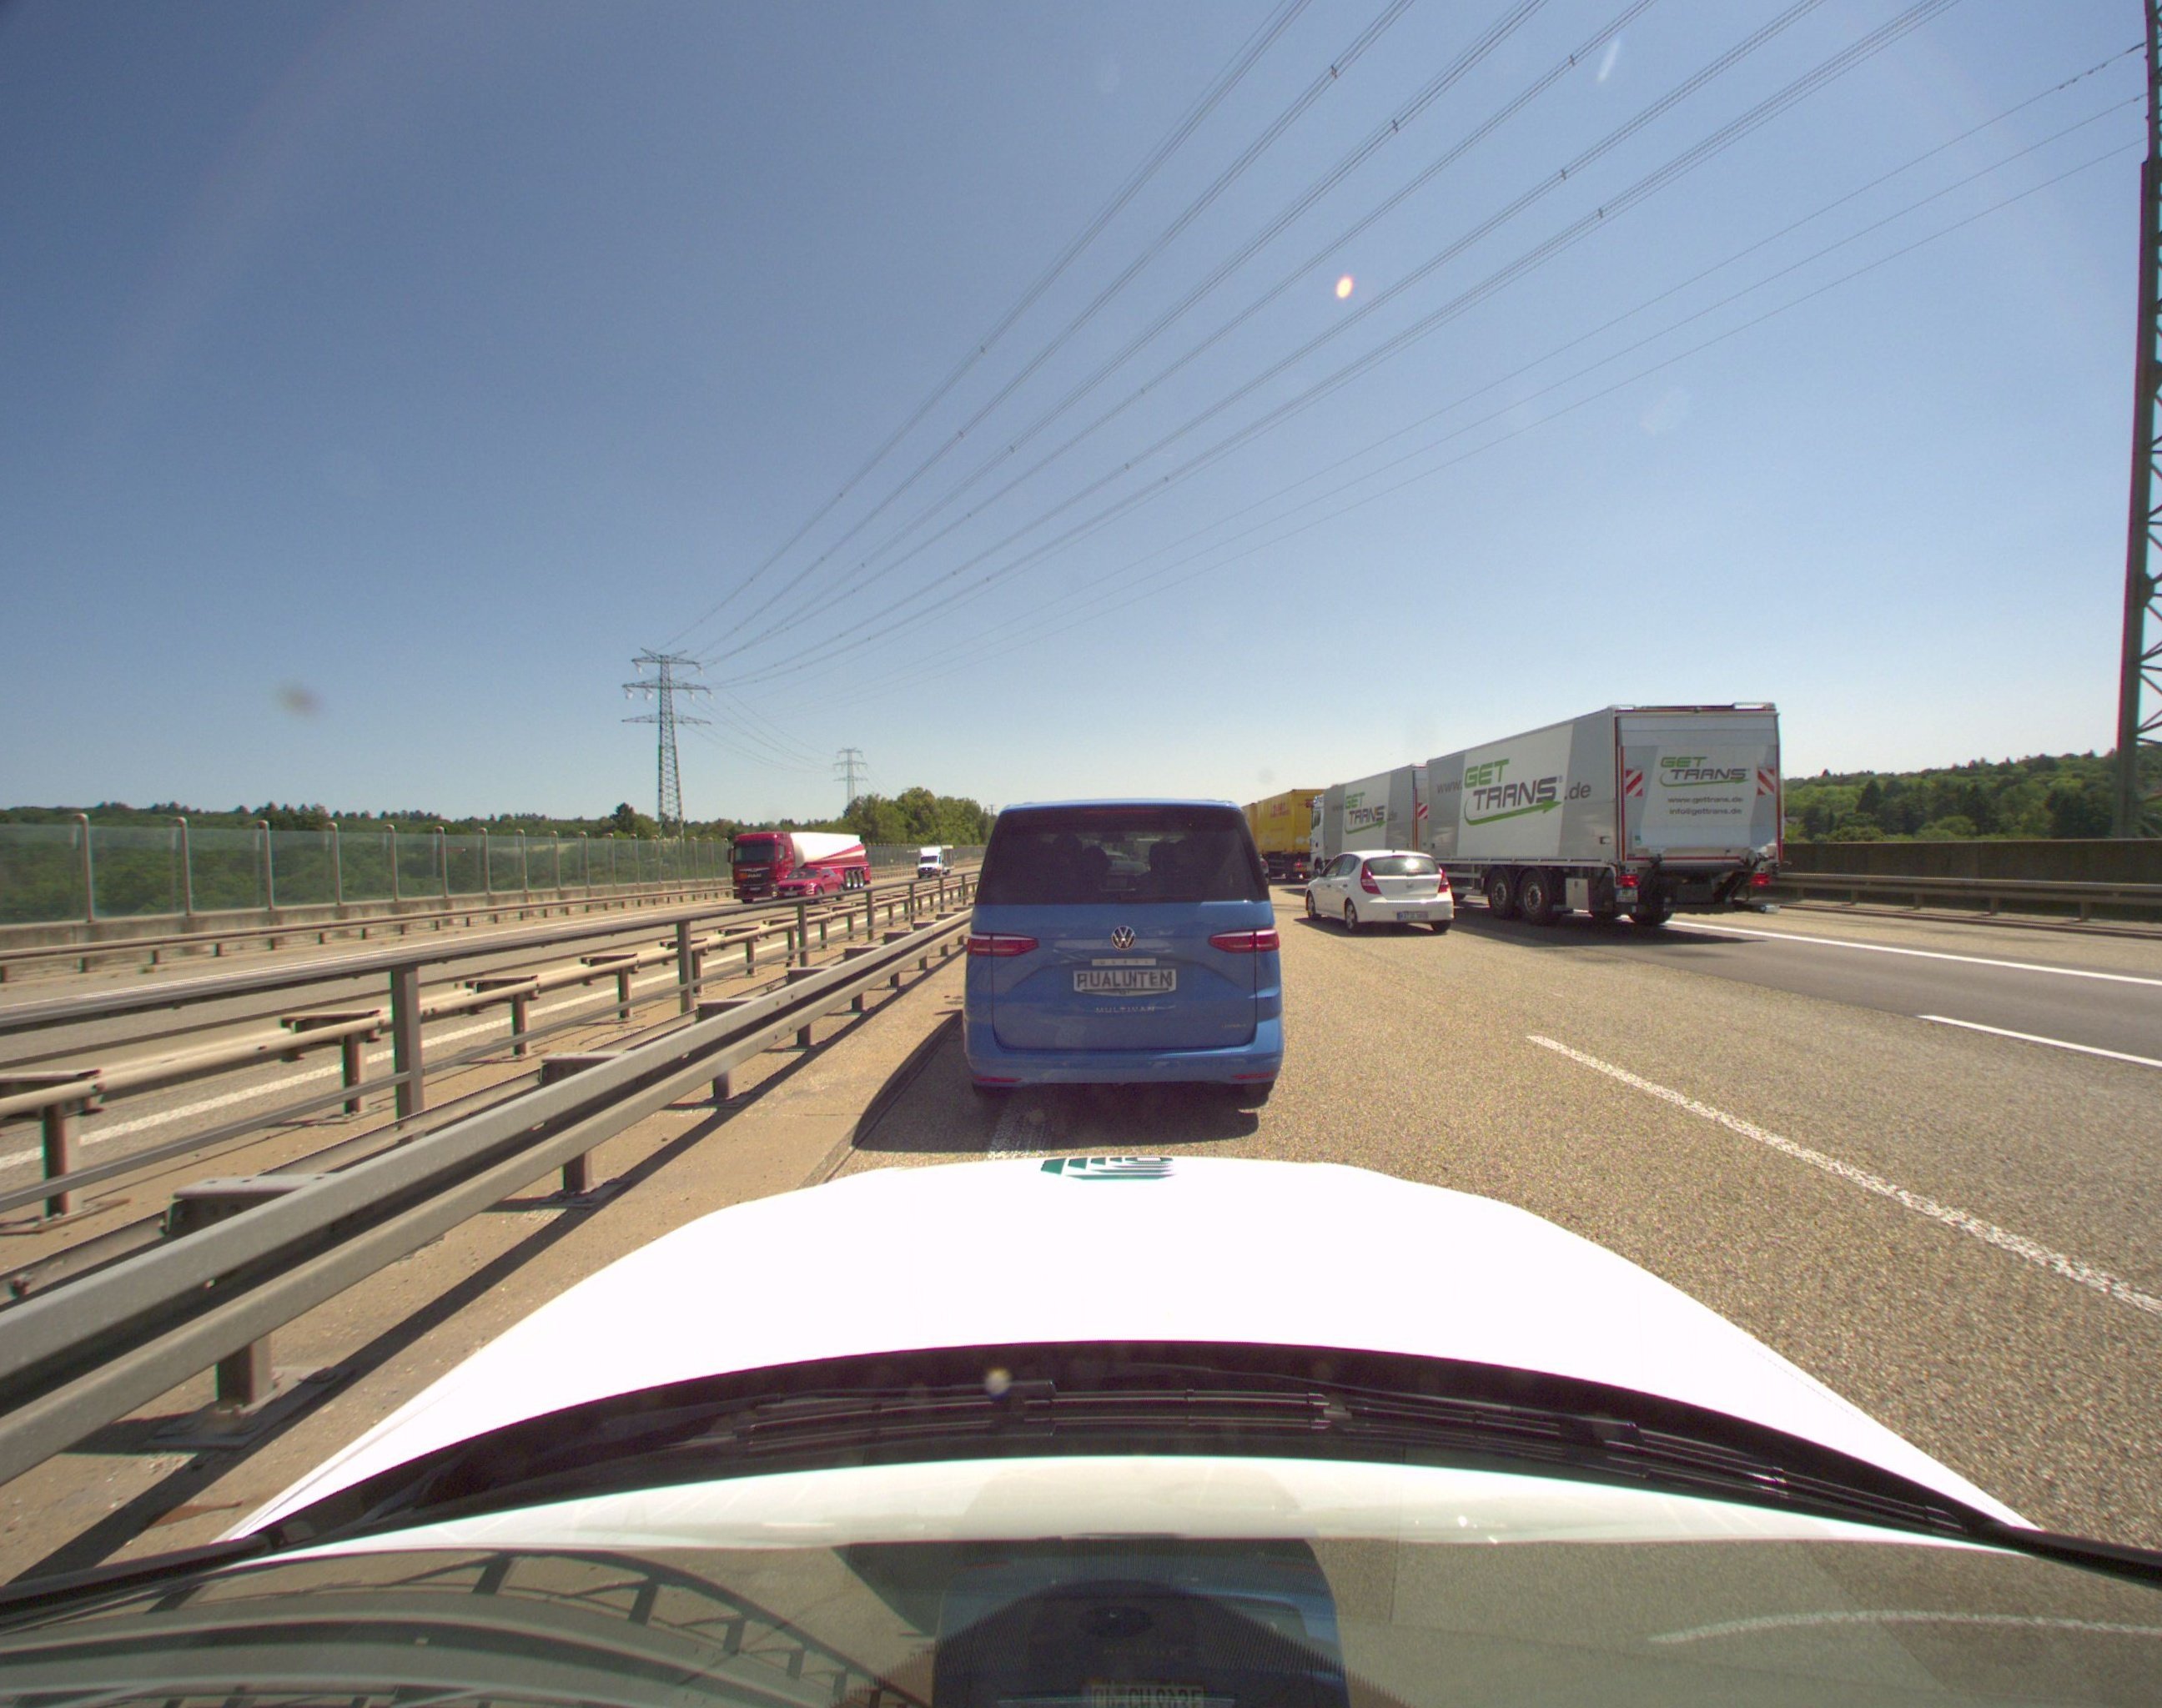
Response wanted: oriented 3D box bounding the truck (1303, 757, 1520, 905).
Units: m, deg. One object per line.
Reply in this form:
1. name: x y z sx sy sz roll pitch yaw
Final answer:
1. truck: 9.792 -0.590 25.946 2.647 3.648 11.013 -1 0 1

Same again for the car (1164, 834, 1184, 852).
1. car: 11.248 -1.339 98.922 1.986 2.013 4.463 -2 0 2

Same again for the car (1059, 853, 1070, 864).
1. car: -3.336 0.908 164.748 1.986 2.014 4.314 0 0 2

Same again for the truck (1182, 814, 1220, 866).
1. truck: 10.905 -1.187 74.505 2.657 4.484 6.853 0 0 2

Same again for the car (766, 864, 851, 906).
1. car: -11.008 1.224 33.209 1.856 1.444 4.132 -4 0 2

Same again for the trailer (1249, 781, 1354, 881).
1. trailer: 10.301 -0.957 39.157 2.854 4.239 9.015 0 0 2

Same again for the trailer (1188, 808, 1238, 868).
1. trailer: 10.636 -1.204 66.828 2.627 4.516 11.306 0 0 2

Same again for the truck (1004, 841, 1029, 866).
1. truck: -9.181 -0.069 116.768 2.553 3.359 8.863 -3 0 0

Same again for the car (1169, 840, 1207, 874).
1. car: 6.744 0.194 51.593 1.954 1.993 4.295 -1 0 2

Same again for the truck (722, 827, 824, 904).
1. truck: -15.082 0.528 40.312 2.488 3.365 5.836 -4 0 2

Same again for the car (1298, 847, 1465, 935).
1. car: 5.662 0.624 15.953 1.782 1.455 4.295 -1 0 2

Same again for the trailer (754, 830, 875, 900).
1. trailer: -14.888 0.550 46.937 2.472 3.344 12.077 -4 0 2

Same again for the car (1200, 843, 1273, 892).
1. car: 5.634 0.448 30.040 1.954 1.644 4.295 -1 0 2

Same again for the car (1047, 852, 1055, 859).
1. car: -8.192 0.360 222.763 1.986 2.014 4.002 0 0 2

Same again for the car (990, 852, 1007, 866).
1. car: -13.517 0.840 133.712 2.074 2.149 4.314 -3 0 2

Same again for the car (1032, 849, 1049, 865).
1. car: -5.486 0.406 111.202 1.894 2.014 4.002 0 0 2

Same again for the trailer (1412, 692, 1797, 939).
1. trailer: 9.597 -0.601 16.403 2.688 3.700 8.017 -1 0 1

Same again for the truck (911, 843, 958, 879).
1. truck: -14.033 0.638 78.674 2.510 3.110 8.724 -5 0 1

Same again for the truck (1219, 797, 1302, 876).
1. truck: 10.543 -0.928 49.174 2.826 4.243 11.013 -1 0 1

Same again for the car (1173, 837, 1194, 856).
1. car: 11.058 -0.765 88.101 1.986 2.014 4.002 0 0 2

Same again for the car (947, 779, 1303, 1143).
1. car: 0.295 0.555 6.227 1.813 1.857 4.076 0 0 2
